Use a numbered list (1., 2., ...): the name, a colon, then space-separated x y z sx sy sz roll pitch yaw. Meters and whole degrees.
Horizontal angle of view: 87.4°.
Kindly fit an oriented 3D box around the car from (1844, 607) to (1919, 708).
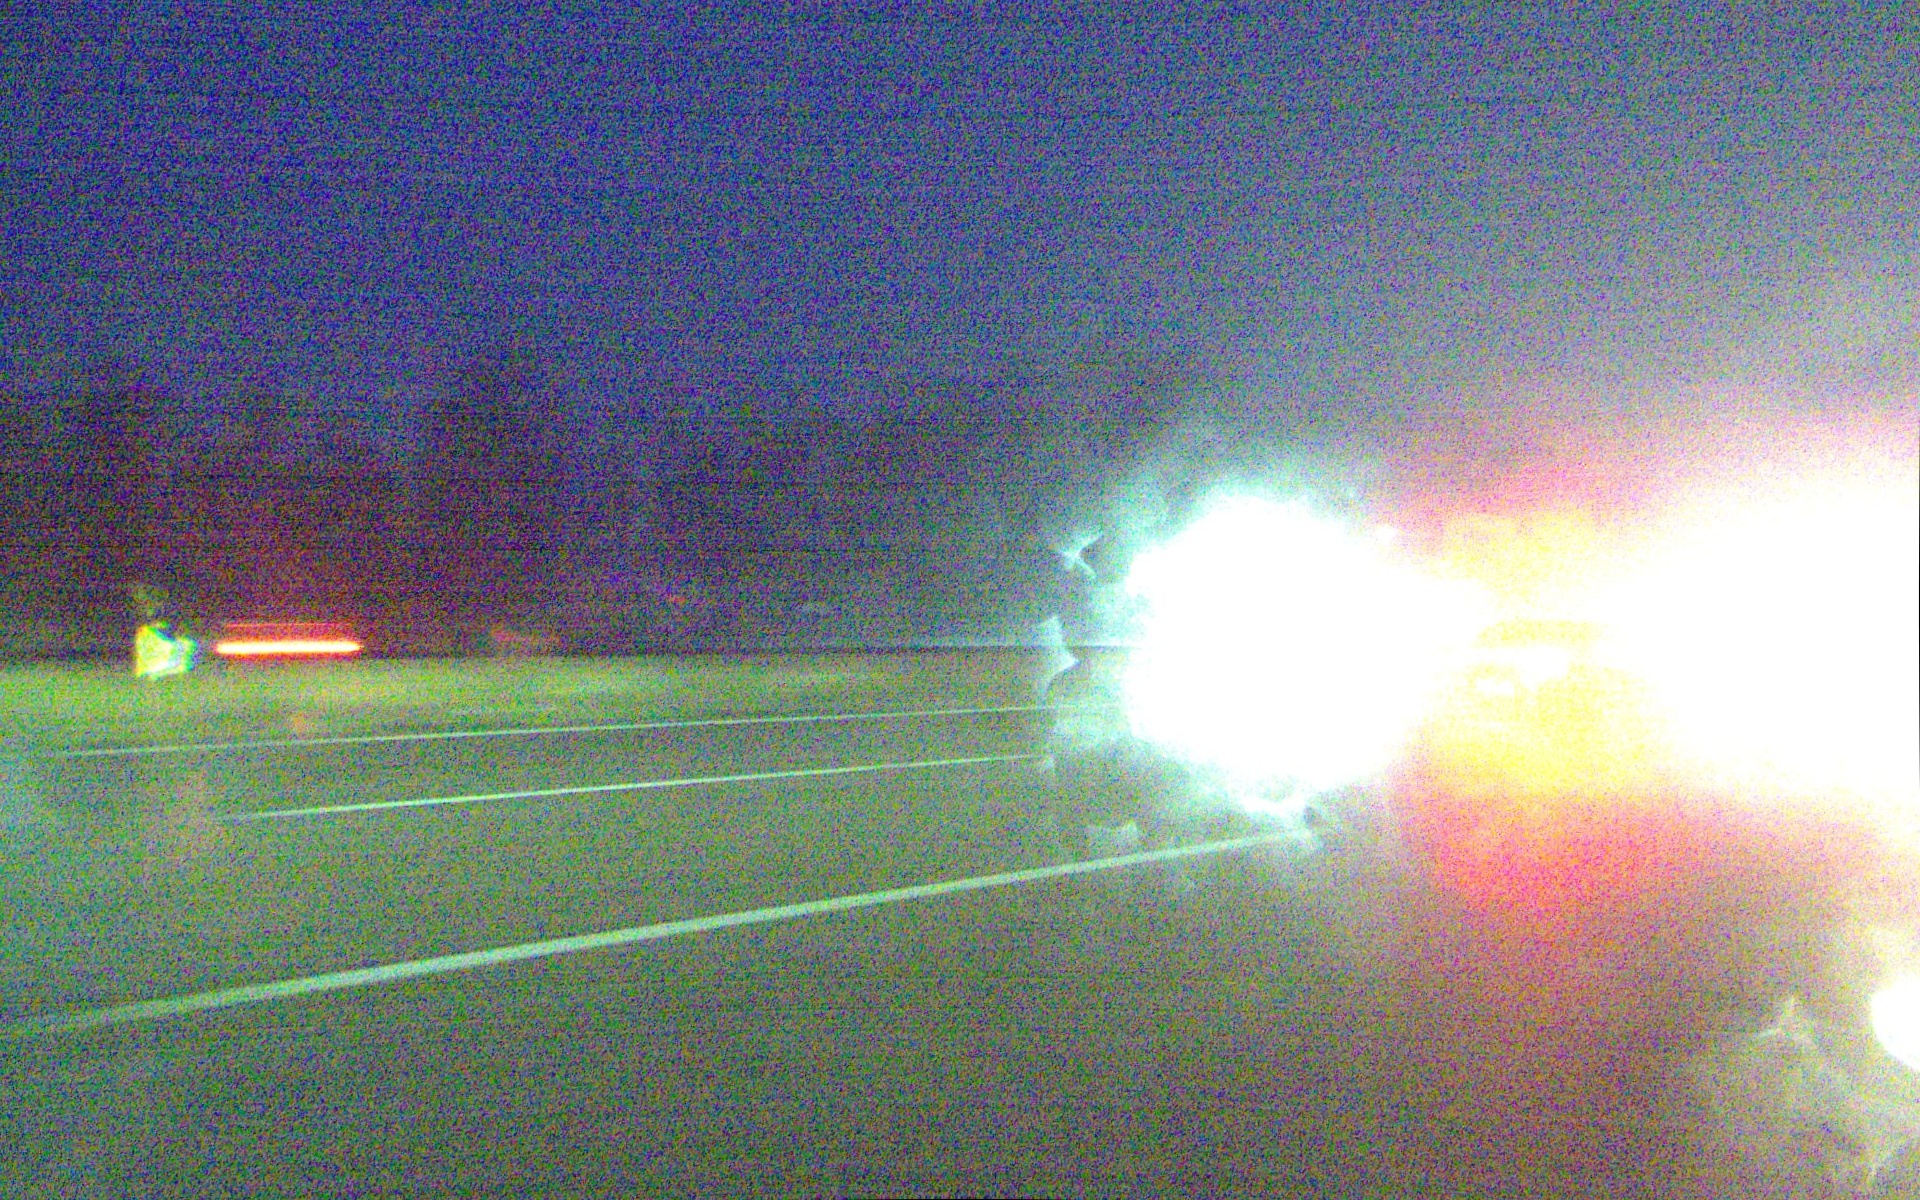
1. car: 19.003 1.096 19.331 4.471 1.785 2.025 1 0 -36

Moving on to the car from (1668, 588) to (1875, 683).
1. car: 20.167 0.843 24.897 5.562 2.132 2.113 1 0 -30

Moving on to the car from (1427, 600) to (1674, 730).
1. car: 9.017 0.883 15.255 3.960 1.712 1.754 0 0 -35

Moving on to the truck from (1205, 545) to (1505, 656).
1. truck: 19.359 0.198 48.060 17.395 4.619 3.392 2 0 -31

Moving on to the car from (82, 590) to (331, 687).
1. car: -15.297 0.767 20.658 3.865 1.828 1.623 1 0 -30
